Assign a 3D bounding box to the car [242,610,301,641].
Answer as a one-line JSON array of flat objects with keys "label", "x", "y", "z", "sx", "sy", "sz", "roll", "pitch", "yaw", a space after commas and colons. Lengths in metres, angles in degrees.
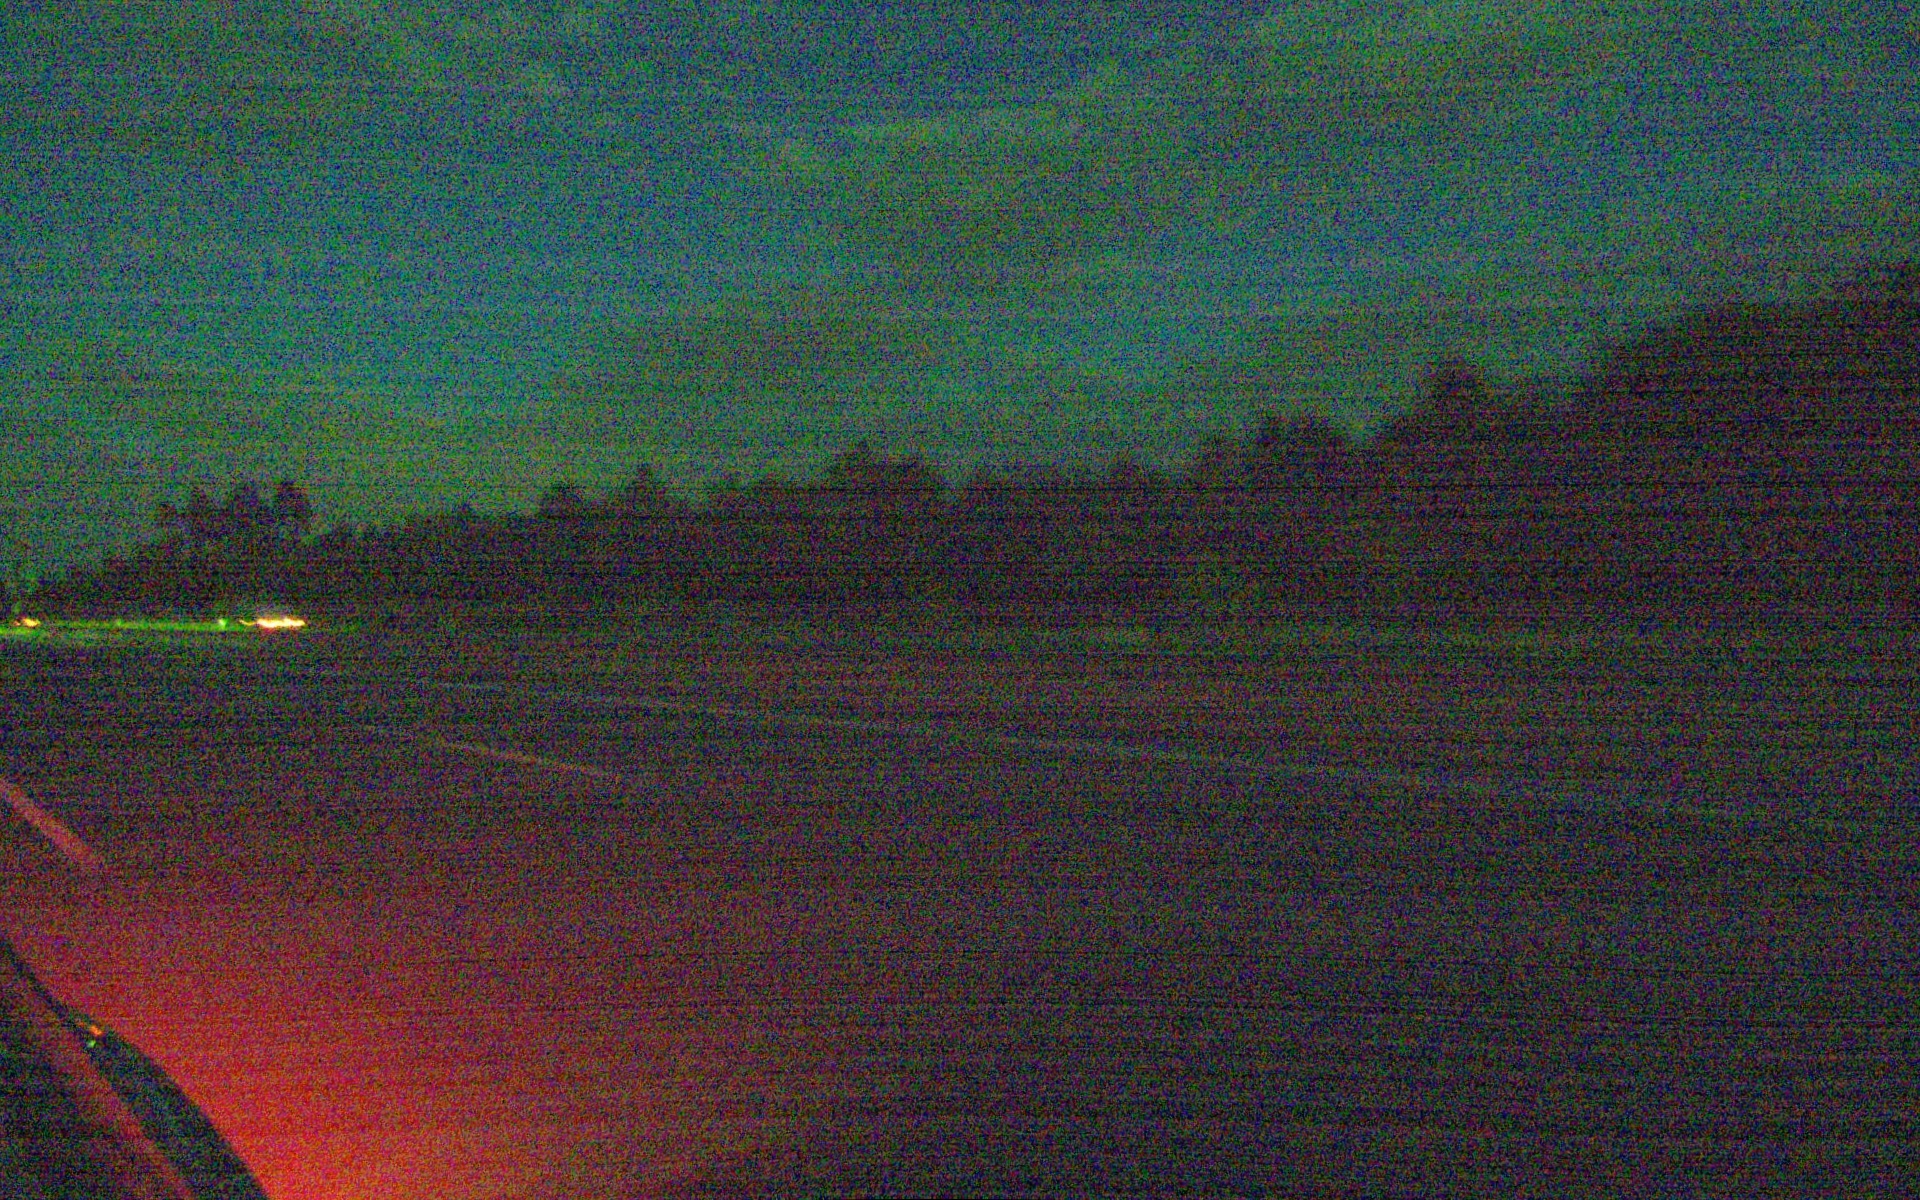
[{"label": "car", "x": -47.096, "y": 1.727, "z": 69.151, "sx": 5.183, "sy": 2.029, "sz": 2.006, "roll": -1, "pitch": 0, "yaw": 40}]
